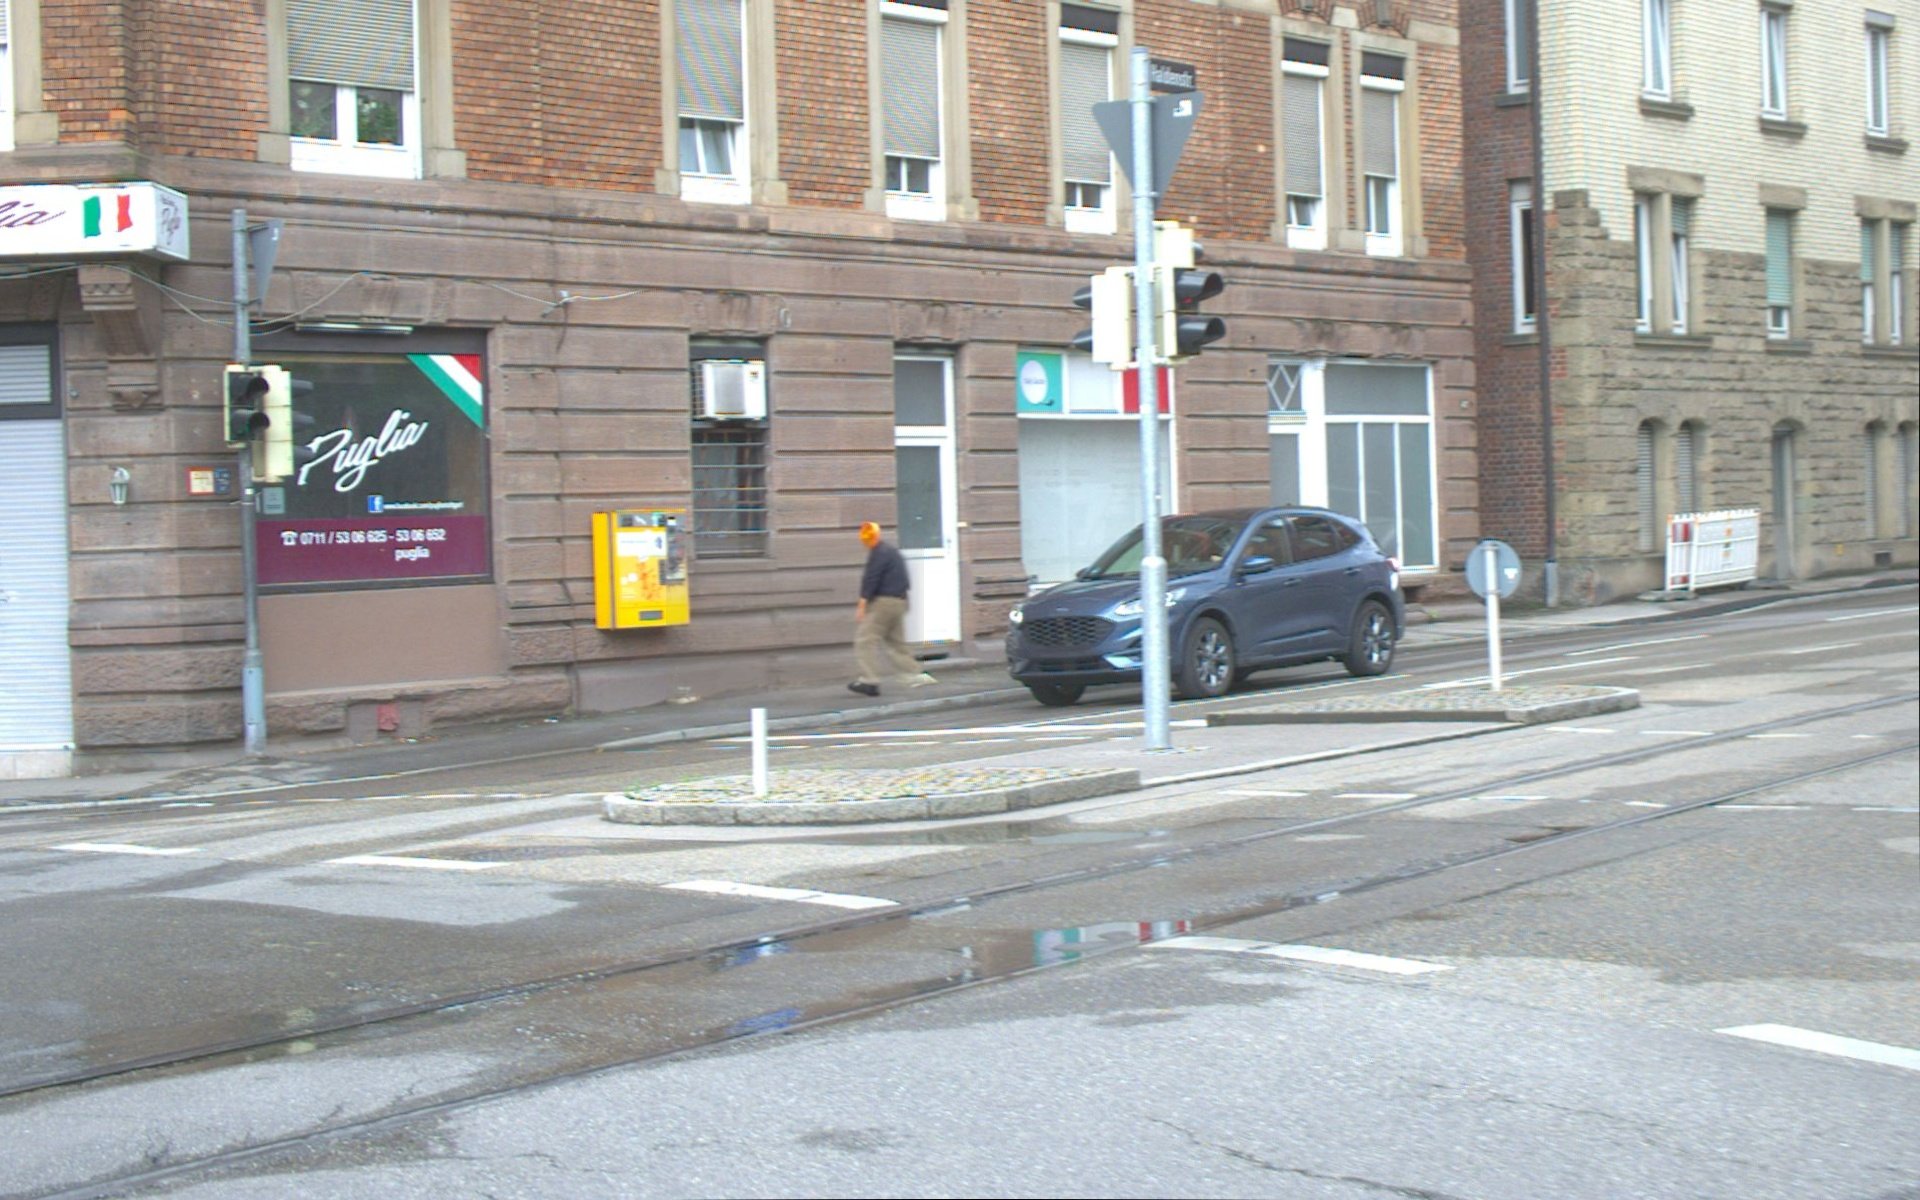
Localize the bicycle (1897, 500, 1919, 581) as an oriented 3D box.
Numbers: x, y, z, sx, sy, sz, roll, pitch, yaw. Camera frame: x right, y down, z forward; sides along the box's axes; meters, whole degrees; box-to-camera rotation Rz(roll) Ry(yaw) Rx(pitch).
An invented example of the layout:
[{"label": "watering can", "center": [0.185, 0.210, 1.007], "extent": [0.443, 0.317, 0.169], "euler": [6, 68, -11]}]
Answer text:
[{"label": "bicycle", "center": [16.668, -1.066, 55.991], "extent": [2.592, 1.302, 0.633], "euler": [-5, -1, 12]}]

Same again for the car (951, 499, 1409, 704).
[{"label": "car", "center": [2.067, -0.019, 31.130], "extent": [1.997, 1.510, 4.277], "euler": [-5, 0, 37]}]
